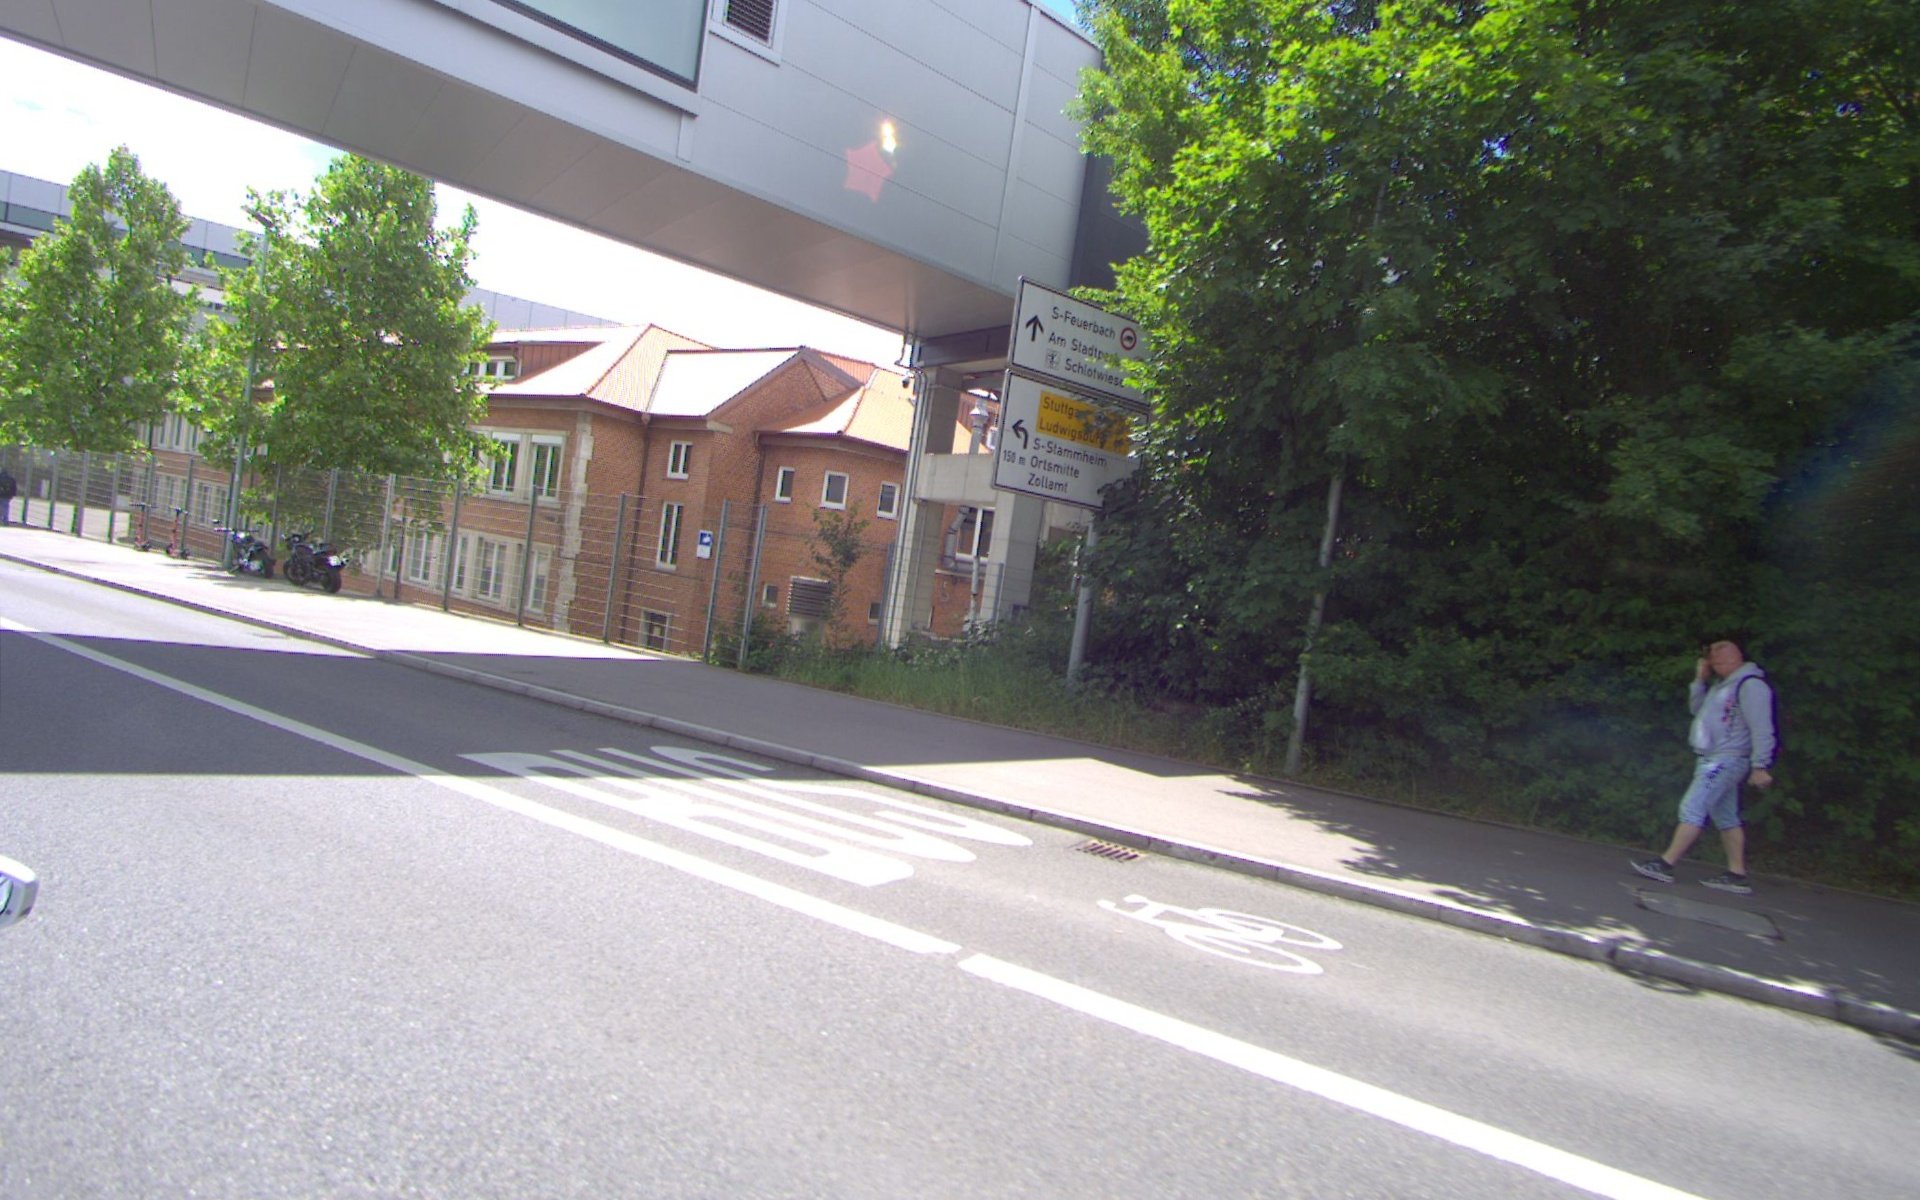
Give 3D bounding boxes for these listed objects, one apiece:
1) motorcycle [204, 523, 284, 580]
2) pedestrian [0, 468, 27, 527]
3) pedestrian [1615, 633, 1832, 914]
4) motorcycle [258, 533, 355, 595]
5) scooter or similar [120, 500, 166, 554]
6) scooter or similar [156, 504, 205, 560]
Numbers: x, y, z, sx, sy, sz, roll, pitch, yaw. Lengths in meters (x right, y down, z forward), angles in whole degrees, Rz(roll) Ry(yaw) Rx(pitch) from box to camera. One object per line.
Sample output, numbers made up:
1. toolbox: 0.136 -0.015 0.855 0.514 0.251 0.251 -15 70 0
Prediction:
1. motorcycle: -16.295 -1.104 22.878 2.210 1.079 0.668 7 3 32
2. pedestrian: -30.047 -3.239 31.552 0.925 1.767 0.877 7 3 32
3. pedestrian: 5.892 1.287 7.856 1.079 1.912 0.790 7 2 32
4. motorcycle: -13.767 -0.769 21.150 2.469 1.079 0.707 7 3 32
5. scooter or similar: -21.970 -1.968 27.046 1.314 1.311 0.491 7 2 32
6. scooter or similar: -19.976 -1.740 25.770 1.314 1.311 0.491 7 2 32
